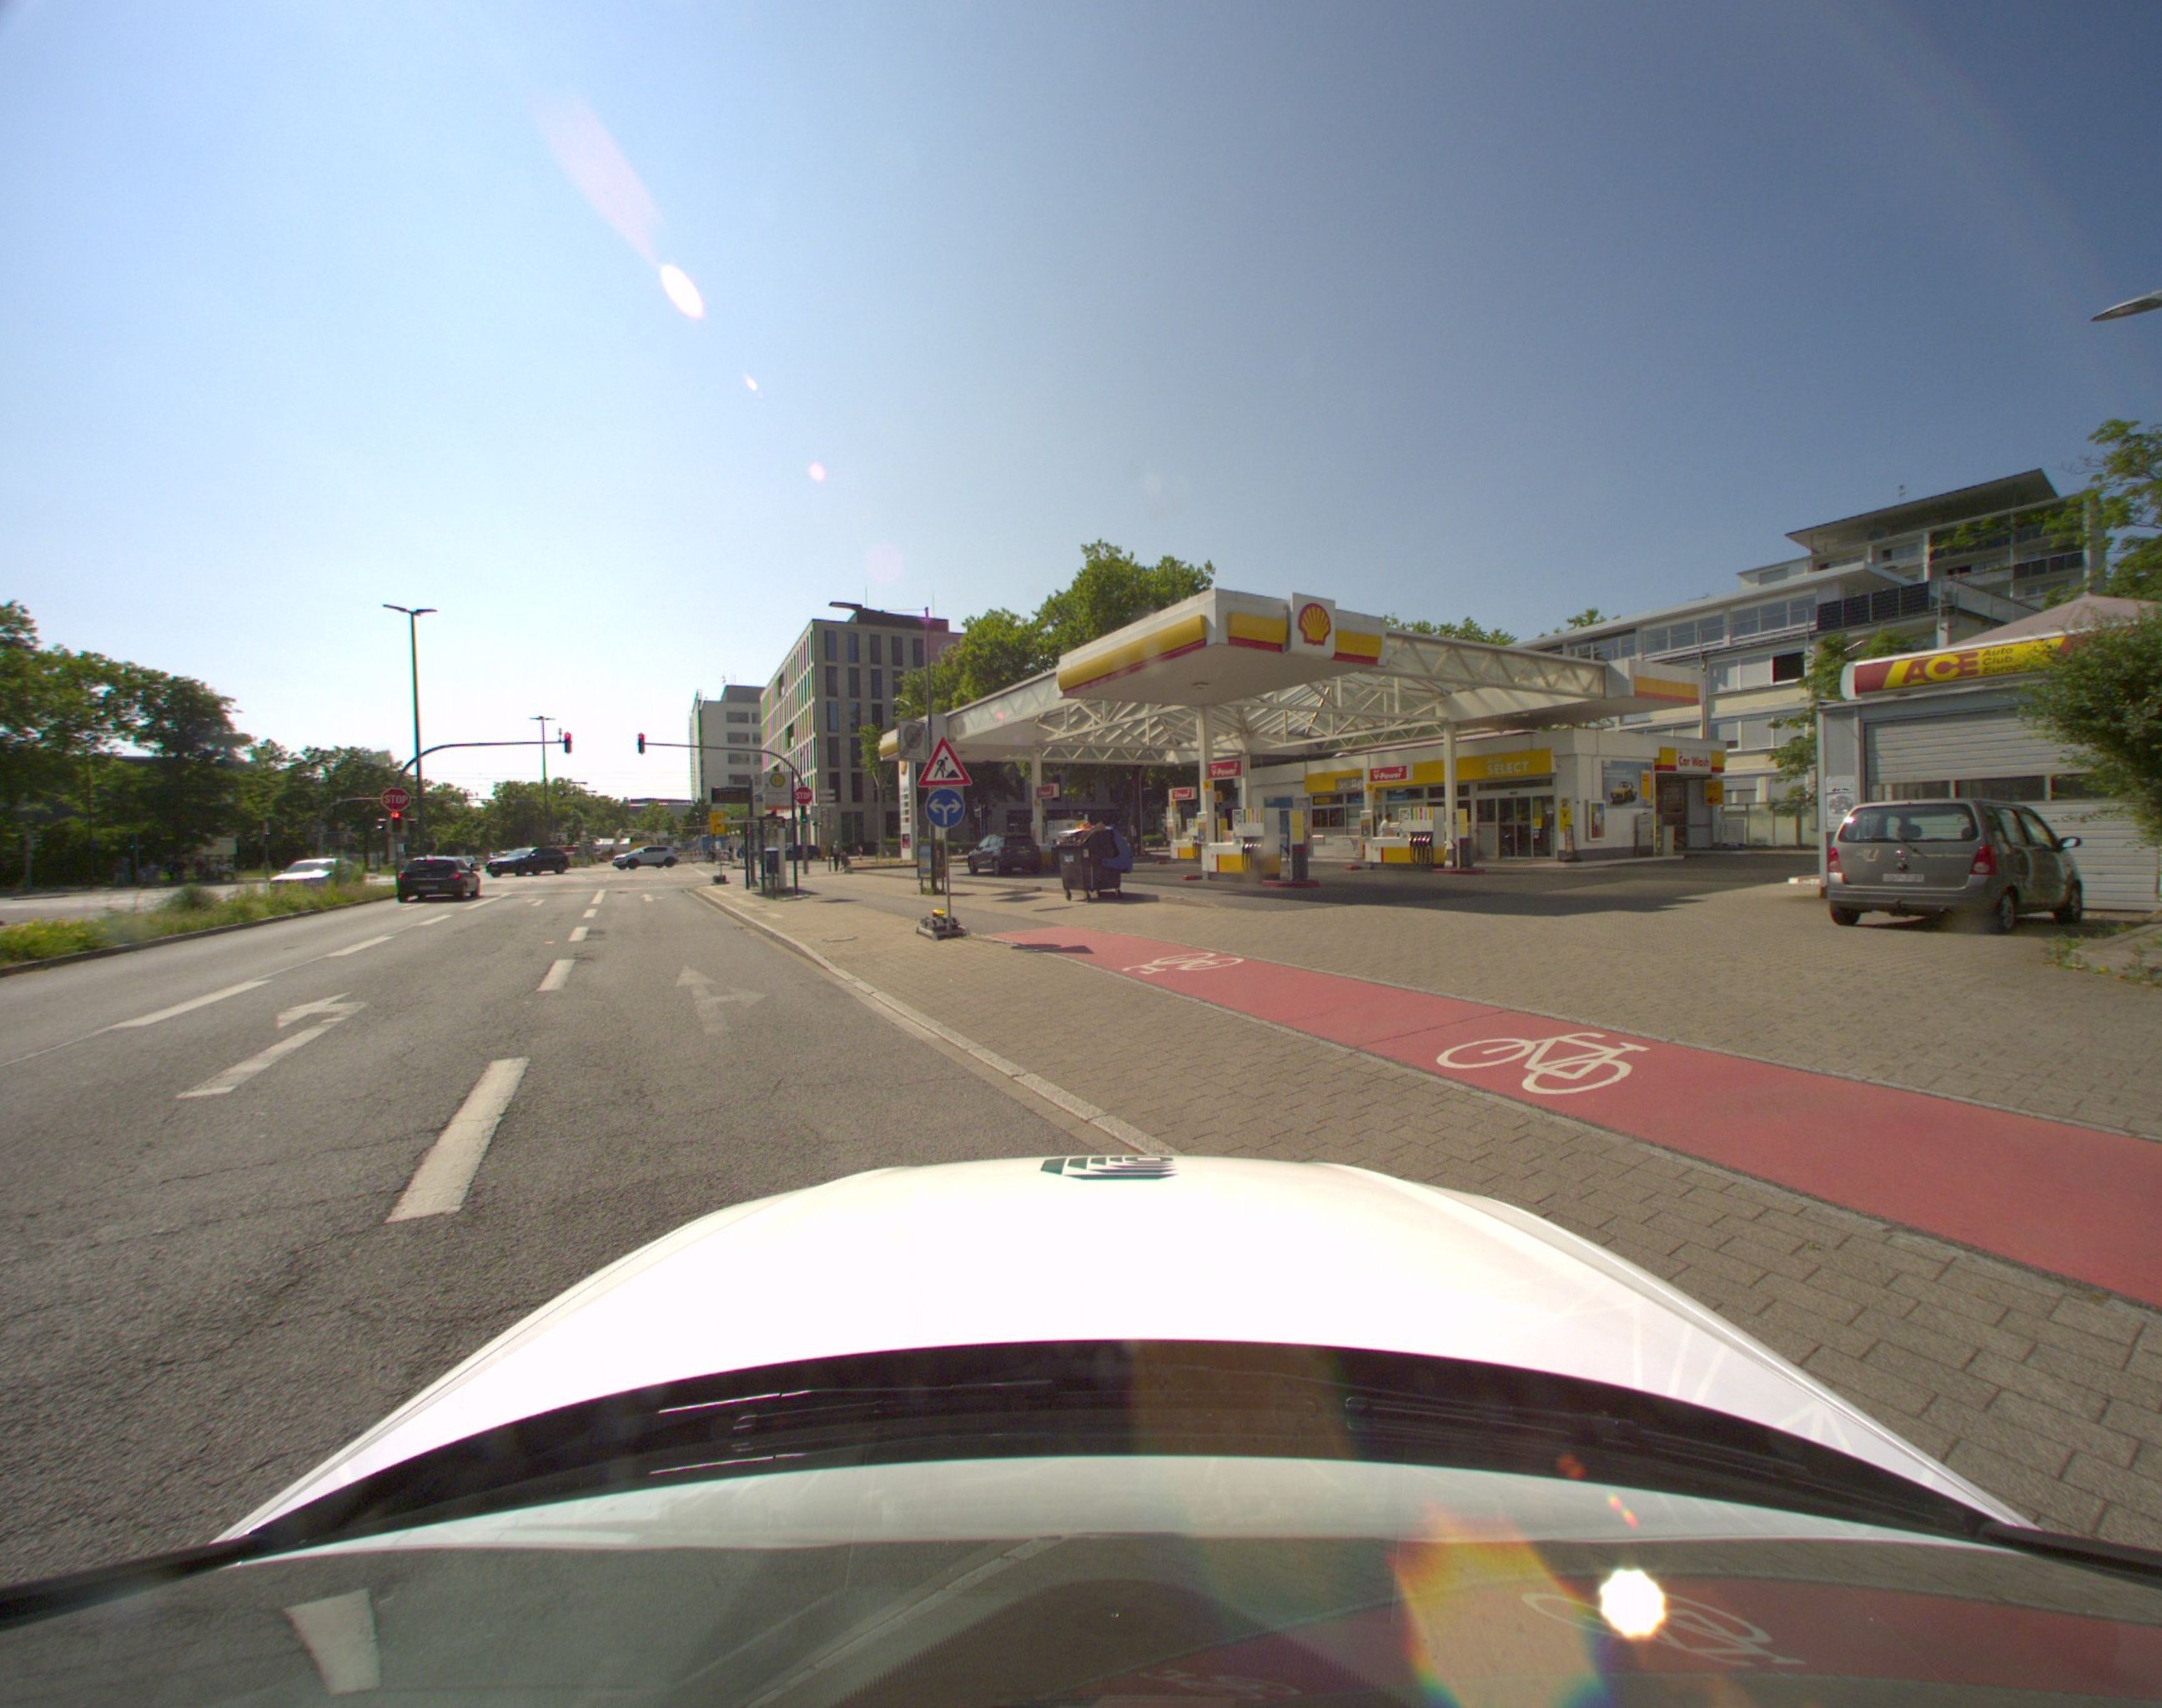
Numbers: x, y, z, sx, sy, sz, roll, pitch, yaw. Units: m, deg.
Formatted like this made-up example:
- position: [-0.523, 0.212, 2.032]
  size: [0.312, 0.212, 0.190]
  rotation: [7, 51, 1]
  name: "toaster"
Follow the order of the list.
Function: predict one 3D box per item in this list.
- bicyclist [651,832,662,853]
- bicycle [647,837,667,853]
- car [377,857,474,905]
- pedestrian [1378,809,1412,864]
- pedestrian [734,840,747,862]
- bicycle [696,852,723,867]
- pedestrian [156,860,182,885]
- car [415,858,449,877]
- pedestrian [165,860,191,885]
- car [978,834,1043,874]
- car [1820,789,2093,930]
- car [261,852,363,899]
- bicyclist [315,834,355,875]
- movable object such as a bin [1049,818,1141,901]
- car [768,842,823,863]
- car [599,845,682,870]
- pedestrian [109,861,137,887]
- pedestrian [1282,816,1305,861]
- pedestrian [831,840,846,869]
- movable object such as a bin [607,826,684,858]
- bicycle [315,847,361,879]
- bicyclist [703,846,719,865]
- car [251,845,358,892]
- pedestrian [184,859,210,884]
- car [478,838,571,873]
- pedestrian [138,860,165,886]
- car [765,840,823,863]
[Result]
- position: [-53.295, -1.464, 102.253]
  size: [1.074, 2.574, 0.821]
  rotation: [-1, 0, -24]
  name: "bicyclist"
- position: [-53.233, -1.080, 102.273]
  size: [2.097, 1.961, 0.821]
  rotation: [-1, 0, -24]
  name: "bicycle"
- position: [-21.870, 0.827, 27.347]
  size: [2.007, 1.398, 3.960]
  rotation: [-2, 1, -31]
  name: "car"
- position: [10.703, -0.593, 27.754]
  size: [0.847, 1.837, 0.750]
  rotation: [-1, 1, 39]
  name: "pedestrian"
- position: [-31.102, -0.270, 74.445]
  size: [0.775, 2.013, 0.777]
  rotation: [-1, 1, -1]
  name: "pedestrian"
- position: [-33.850, 0.528, 74.226]
  size: [2.237, 1.285, 0.521]
  rotation: [-2, 1, -22]
  name: "bicycle"
- position: [-60.376, 1.220, 53.908]
  size: [0.653, 1.611, 0.940]
  rotation: [-1, 1, -6]
  name: "pedestrian"
- position: [-57.236, 1.174, 71.798]
  size: [3.915, 1.509, 1.760]
  rotation: [-1, 1, 43]
  name: "car"
- position: [-59.447, 1.195, 53.616]
  size: [0.653, 1.611, 0.940]
  rotation: [-1, 1, -6]
  name: "pedestrian"
- position: [-2.767, -0.033, 31.274]
  size: [1.655, 1.398, 3.618]
  rotation: [-2, 1, -19]
  name: "car"
- position: [11.667, 0.000, 10.818]
  size: [3.843, 1.596, 1.575]
  rotation: [-2, 1, -29]
  name: "car"
- position: [-29.831, 0.771, 31.753]
  size: [1.903, 1.610, 4.474]
  rotation: [-3, 1, -31]
  name: "car"
- position: [-55.457, 0.015, 60.570]
  size: [1.610, 2.930, 2.331]
  rotation: [-2, 1, -30]
  name: "bicyclist"
- position: [0.279, 0.102, 17.177]
  size: [1.317, 1.591, 1.382]
  rotation: [-5, 3, -32]
  name: "movable object such as a bin"
- position: [-23.777, -0.168, 67.770]
  size: [4.013, 1.581, 1.826]
  rotation: [-3, 1, -31]
  name: "car"
- position: [-31.931, 0.237, 59.121]
  size: [1.974, 1.636, 4.901]
  rotation: [-1, 1, 41]
  name: "car"
- position: [-61.679, 1.283, 52.438]
  size: [0.653, 1.611, 0.940]
  rotation: [-1, 1, -6]
  name: "pedestrian"
- position: [8.796, -0.656, 33.744]
  size: [0.676, 1.821, 0.626]
  rotation: [-2, 1, -23]
  name: "pedestrian"
- position: [-12.889, 0.026, 43.275]
  size: [0.622, 1.543, 0.457]
  rotation: [-2, 1, -31]
  name: "pedestrian"
- position: [-64.183, -1.809, 120.217]
  size: [9.731, 4.549, 3.135]
  rotation: [-2, 1, -28]
  name: "movable object such as a bin"
- position: [-55.844, 0.667, 61.281]
  size: [1.609, 2.268, 3.962]
  rotation: [-2, 1, -29]
  name: "bicycle"
- position: [-33.709, 0.111, 74.283]
  size: [1.244, 1.673, 0.521]
  rotation: [-2, 1, -22]
  name: "bicyclist"
- position: [-29.963, 0.520, 31.585]
  size: [2.007, 1.638, 4.352]
  rotation: [-3, 1, -31]
  name: "car"
- position: [-59.715, 1.183, 55.012]
  size: [0.665, 1.611, 0.940]
  rotation: [-1, 1, -6]
  name: "pedestrian"
- position: [-34.230, 0.028, 50.287]
  size: [1.983, 2.013, 4.880]
  rotation: [-1, 1, 7]
  name: "car"
- position: [-61.098, 1.246, 53.539]
  size: [0.653, 1.611, 0.940]
  rotation: [-1, 1, -6]
  name: "pedestrian"
- position: [-23.437, -0.216, 66.627]
  size: [4.137, 1.638, 1.980]
  rotation: [-3, 1, -31]
  name: "car"
